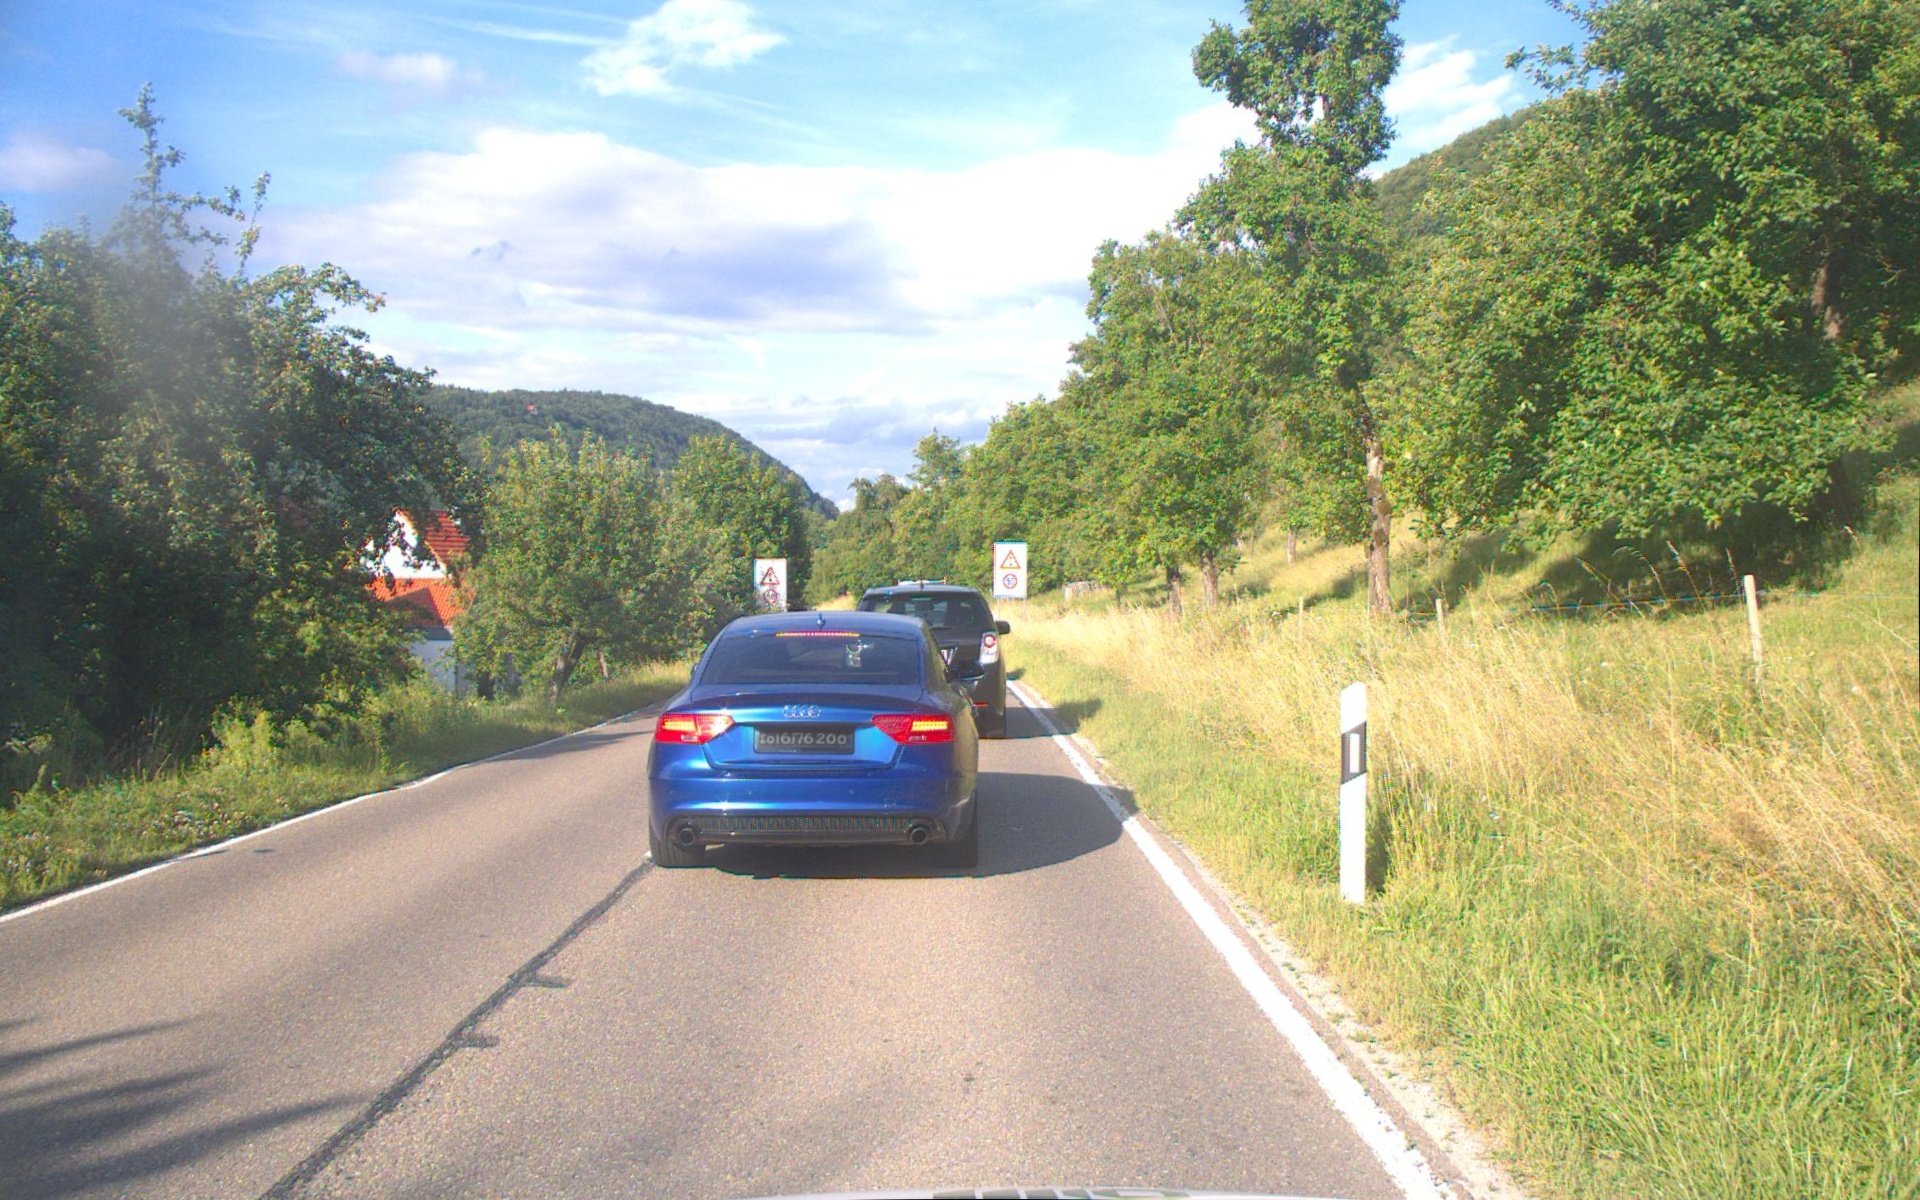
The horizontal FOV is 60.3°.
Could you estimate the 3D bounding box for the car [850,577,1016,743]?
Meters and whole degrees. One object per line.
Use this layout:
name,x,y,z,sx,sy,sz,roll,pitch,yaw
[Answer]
car,-0.308,0.596,18.504,1.658,1.652,3.788,0,0,-1

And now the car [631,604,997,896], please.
car,-0.726,0.731,10.129,1.769,1.406,4.214,0,0,-1

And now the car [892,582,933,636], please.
car,-2.307,0.401,79.867,1.757,2.496,3.916,2,0,-4

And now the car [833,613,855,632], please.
car,-9.942,1.900,141.335,1.530,1.522,3.770,2,0,-9

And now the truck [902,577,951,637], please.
truck,-1.442,0.280,70.199,1.910,2.386,5.092,2,0,-2

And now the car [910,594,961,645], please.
car,-0.837,0.617,55.960,1.658,1.652,3.788,0,0,-1

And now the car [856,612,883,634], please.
car,-6.907,1.757,126.208,1.715,1.522,3.771,2,0,-8

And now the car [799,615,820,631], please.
car,-15.002,2.272,164.846,1.532,1.522,3.765,2,0,-13
